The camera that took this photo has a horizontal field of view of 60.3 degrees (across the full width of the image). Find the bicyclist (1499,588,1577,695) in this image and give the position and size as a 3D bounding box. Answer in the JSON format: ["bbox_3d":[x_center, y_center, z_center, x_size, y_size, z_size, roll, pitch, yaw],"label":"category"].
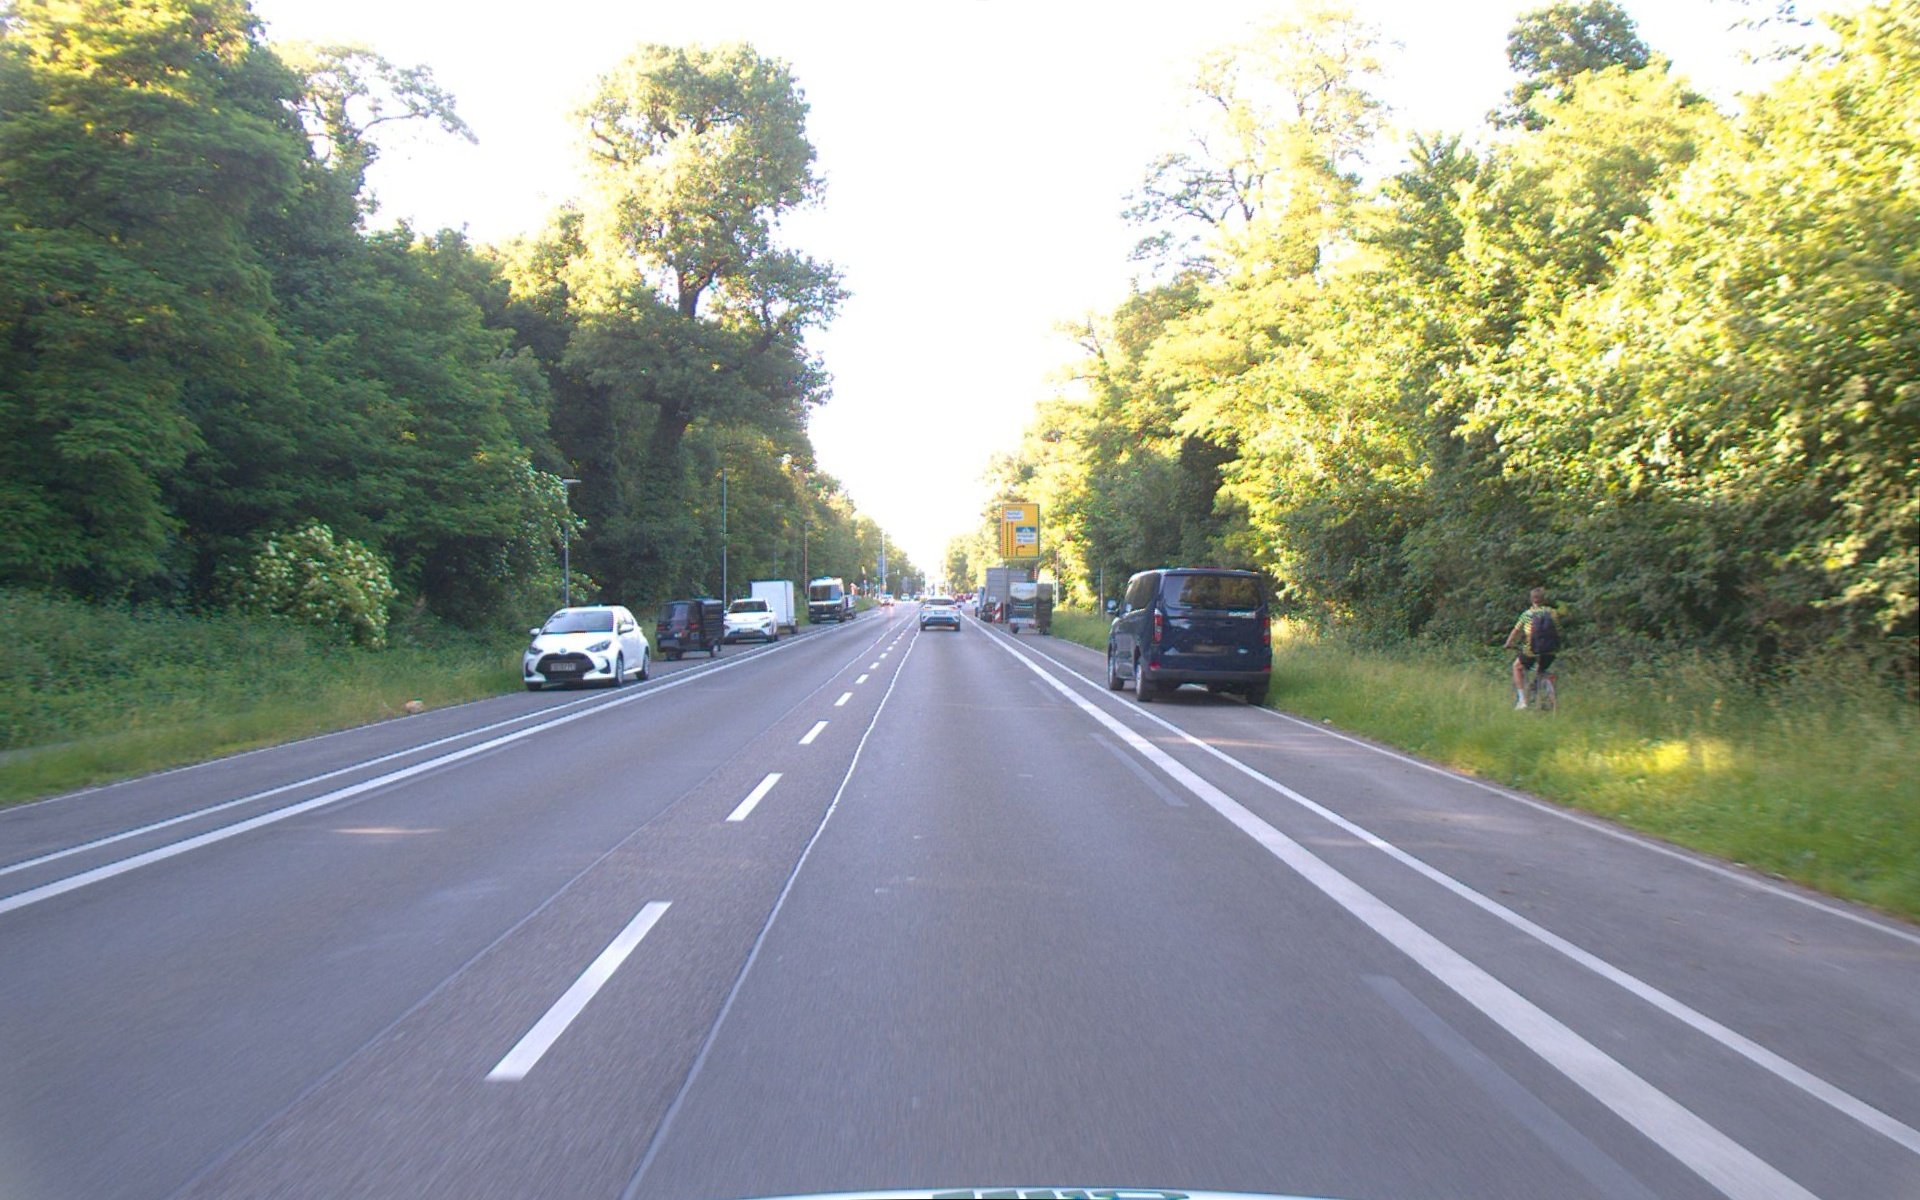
[{"bbox_3d":[7.457,0.522,21.376,0.598,1.348,1.175,0,0,-1],"label":"bicyclist"}]

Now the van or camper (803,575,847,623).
[{"bbox_3d":[-8.412,-0.076,103.381,2.255,2.816,5.556,-3,0,-1],"label":"van or camper"}]

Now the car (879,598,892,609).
[{"bbox_3d":[-9.937,0.499,221.105,1.644,1.440,4.000,-1,0,0],"label":"car"}]

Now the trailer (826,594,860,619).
[{"bbox_3d":[-8.260,0.489,116.921,1.439,1.688,3.368,-2,-1,12],"label":"trailer"}]

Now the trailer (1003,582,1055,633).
[{"bbox_3d":[2.963,0.319,70.861,1.580,2.149,2.397,0,0,20],"label":"trailer"}]

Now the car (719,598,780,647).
[{"bbox_3d":[-7.499,0.789,59.235,1.778,1.599,4.204,-2,0,-3],"label":"car"}]

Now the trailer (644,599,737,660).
[{"bbox_3d":[-7.228,0.773,44.551,1.366,1.601,2.675,0,0,19],"label":"trailer"}]

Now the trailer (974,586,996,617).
[{"bbox_3d":[1.852,0.120,124.233,1.469,2.274,4.549,1,0,0],"label":"trailer"}]

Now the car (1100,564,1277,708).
[{"bbox_3d":[3.556,0.520,26.686,2.070,2.049,5.039,2,0,-1],"label":"car"}]

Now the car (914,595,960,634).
[{"bbox_3d":[-1.034,0.619,74.302,1.953,1.668,3.999,-1,0,-1],"label":"car"}]

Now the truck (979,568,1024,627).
[{"bbox_3d":[2.491,-0.149,100.713,2.454,3.425,7.106,1,0,0],"label":"truck"}]

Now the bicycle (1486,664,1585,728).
[{"bbox_3d":[7.442,1.230,21.469,0.579,0.704,1.996,0,0,-1],"label":"bicycle"}]

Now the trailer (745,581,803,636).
[{"bbox_3d":[-8.164,0.354,72.833,2.032,2.333,3.487,-1,0,1],"label":"trailer"}]

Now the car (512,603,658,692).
[{"bbox_3d":[-7.044,0.847,31.482,1.829,1.476,4.070,-3,0,-1],"label":"car"}]
